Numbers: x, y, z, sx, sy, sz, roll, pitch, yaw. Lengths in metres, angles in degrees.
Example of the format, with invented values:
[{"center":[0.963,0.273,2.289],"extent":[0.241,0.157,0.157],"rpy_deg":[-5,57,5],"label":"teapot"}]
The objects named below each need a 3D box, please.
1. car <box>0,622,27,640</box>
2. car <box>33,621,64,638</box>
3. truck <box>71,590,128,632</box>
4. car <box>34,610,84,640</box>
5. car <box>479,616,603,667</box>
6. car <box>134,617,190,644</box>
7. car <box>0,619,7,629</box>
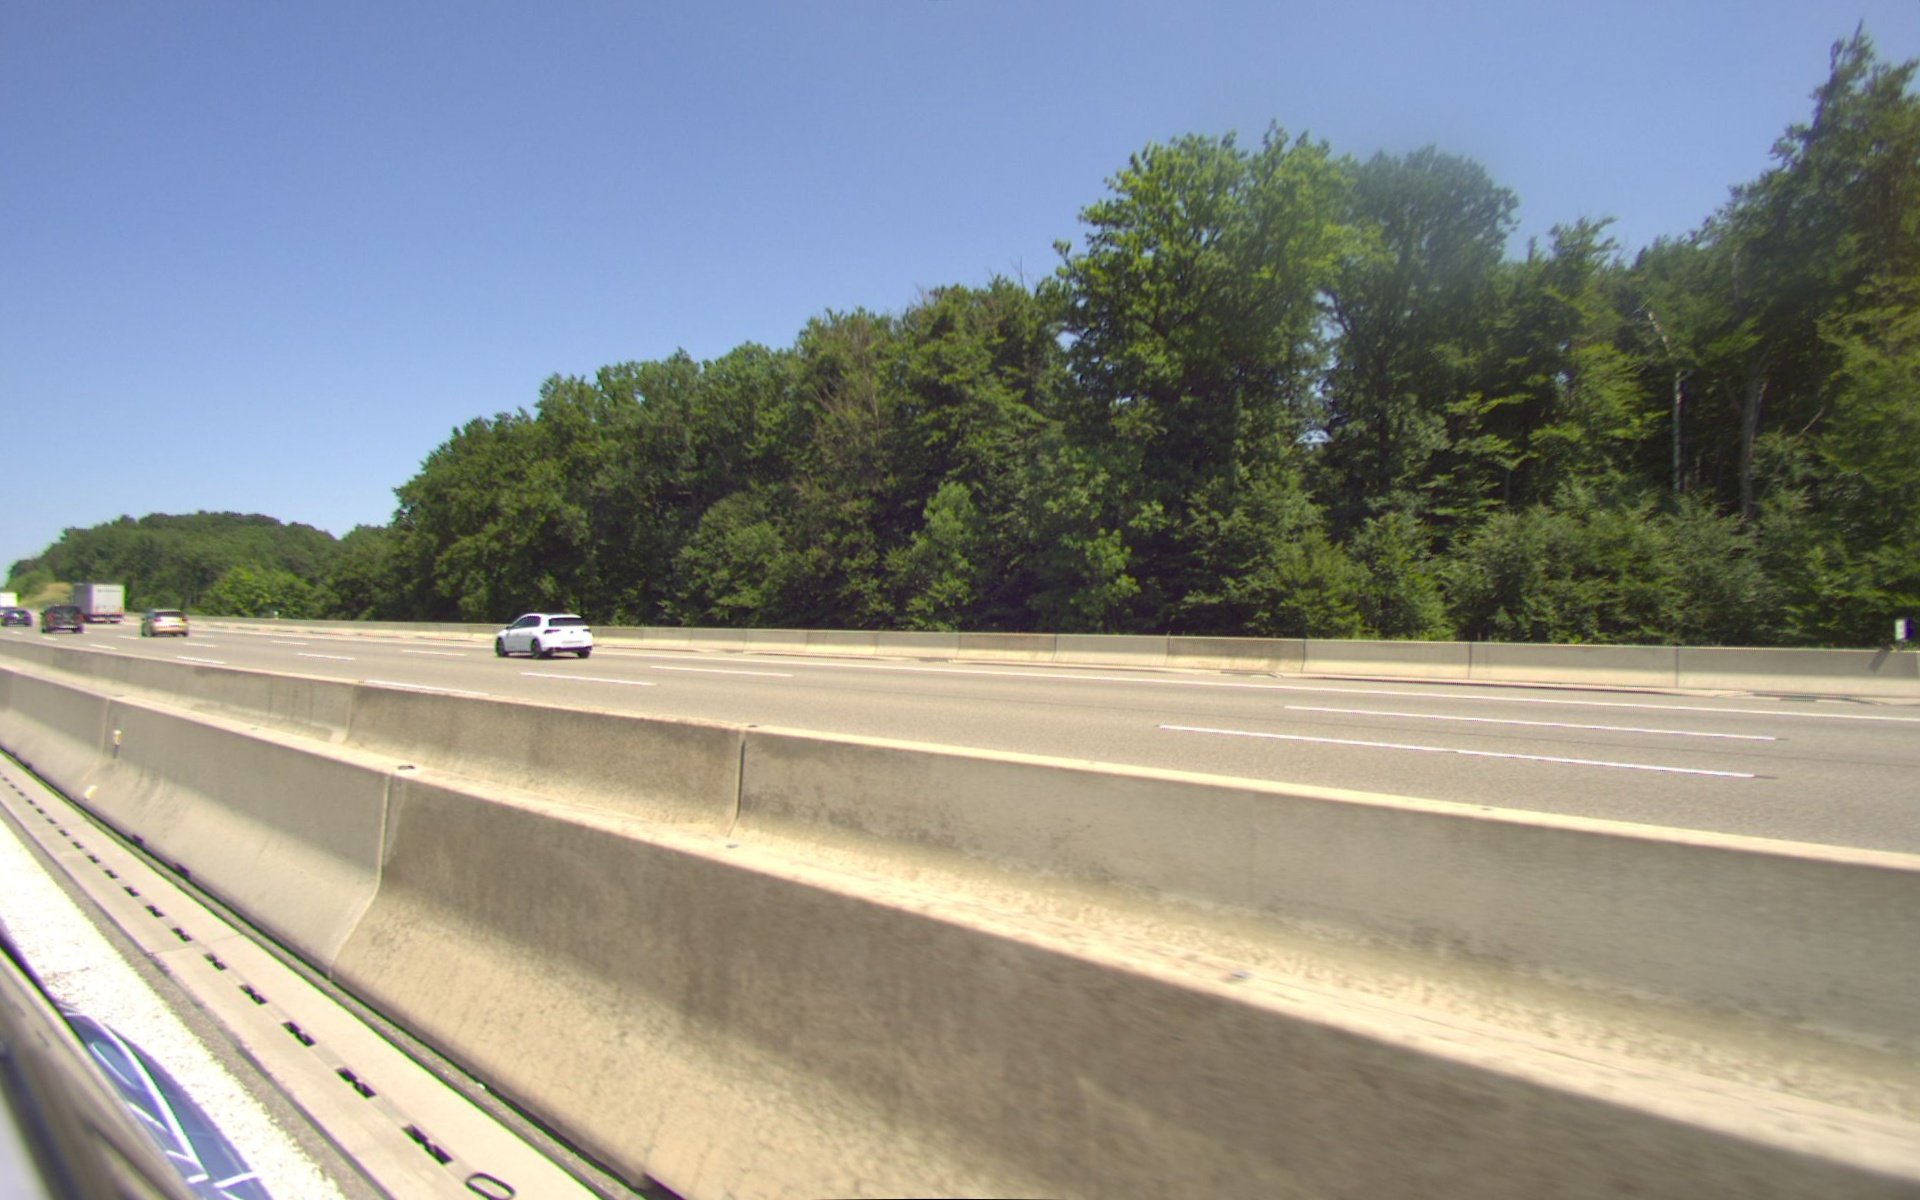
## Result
[{"center":[-83.383,2.699,88.726],"extent":[5.110,1.487,1.852],"rpy_deg":[-1,-1,42],"label":"car"},{"center":[-89.162,2.884,98.999],"extent":[4.135,1.546,1.853],"rpy_deg":[-1,-1,42],"label":"car"},{"center":[-88.380,1.130,103.827],"extent":[14.296,4.056,2.661],"rpy_deg":[-1,-1,43],"label":"truck"},{"center":[-60.362,1.644,67.779],"extent":[5.773,1.955,1.853],"rpy_deg":[-1,-1,42],"label":"car"},{"center":[-13.820,1.305,33.254],"extent":[4.811,1.491,1.853],"rpy_deg":[-1,1,42],"label":"car"},{"center":[-48.186,1.797,61.064],"extent":[4.811,1.546,1.853],"rpy_deg":[-1,-1,42],"label":"car"},{"center":[-133.823,3.361,140.558],"extent":[4.728,1.311,1.812],"rpy_deg":[-1,-1,42],"label":"car"}]
